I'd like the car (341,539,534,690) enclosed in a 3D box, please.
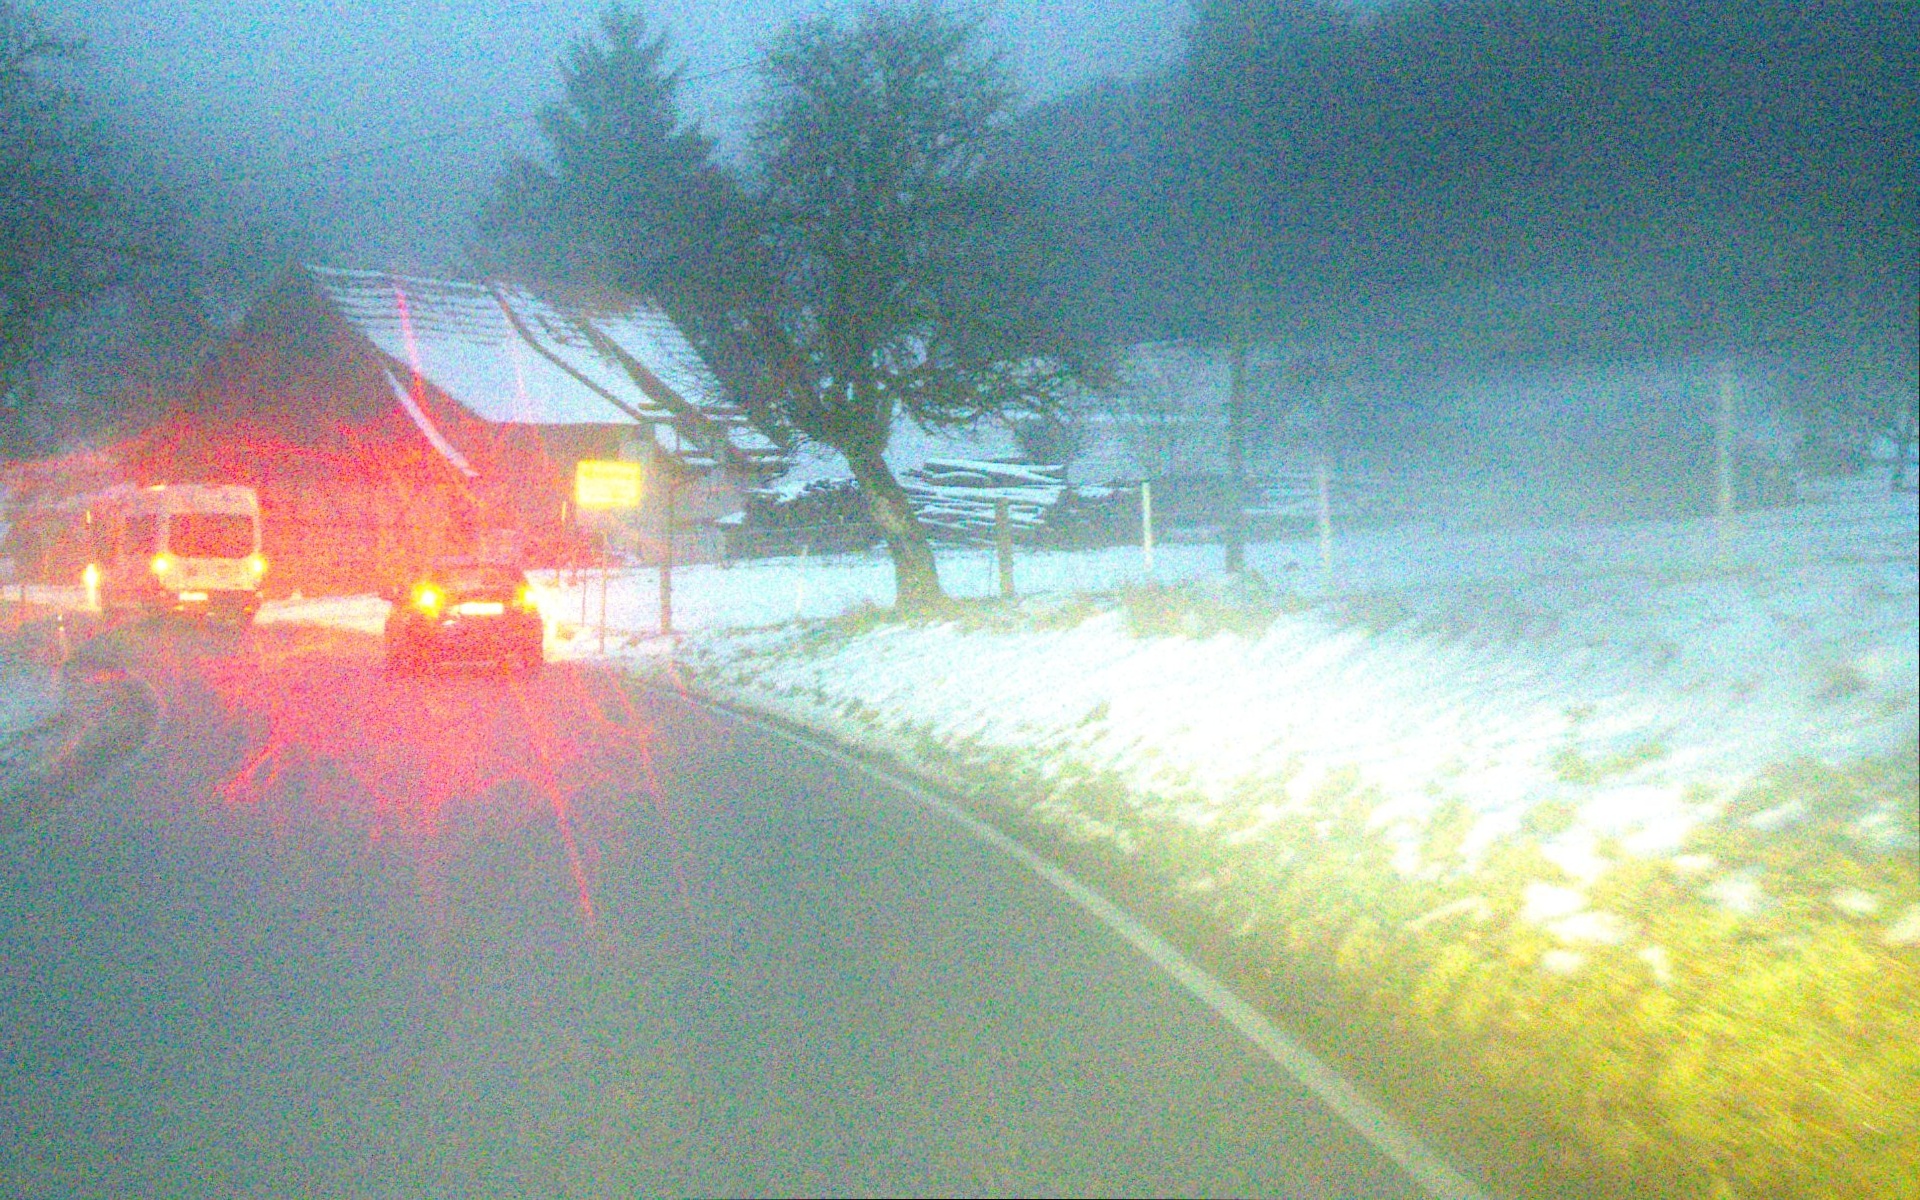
[{"bbox_3d":[-6.989,0.174,45.545,2.273,1.834,5.008,-2,0,-11],"label":"car"}]

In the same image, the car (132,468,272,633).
[{"bbox_3d":[-14.487,-0.913,65.513,2.434,3.008,5.326,-1,0,-14],"label":"car"}]
